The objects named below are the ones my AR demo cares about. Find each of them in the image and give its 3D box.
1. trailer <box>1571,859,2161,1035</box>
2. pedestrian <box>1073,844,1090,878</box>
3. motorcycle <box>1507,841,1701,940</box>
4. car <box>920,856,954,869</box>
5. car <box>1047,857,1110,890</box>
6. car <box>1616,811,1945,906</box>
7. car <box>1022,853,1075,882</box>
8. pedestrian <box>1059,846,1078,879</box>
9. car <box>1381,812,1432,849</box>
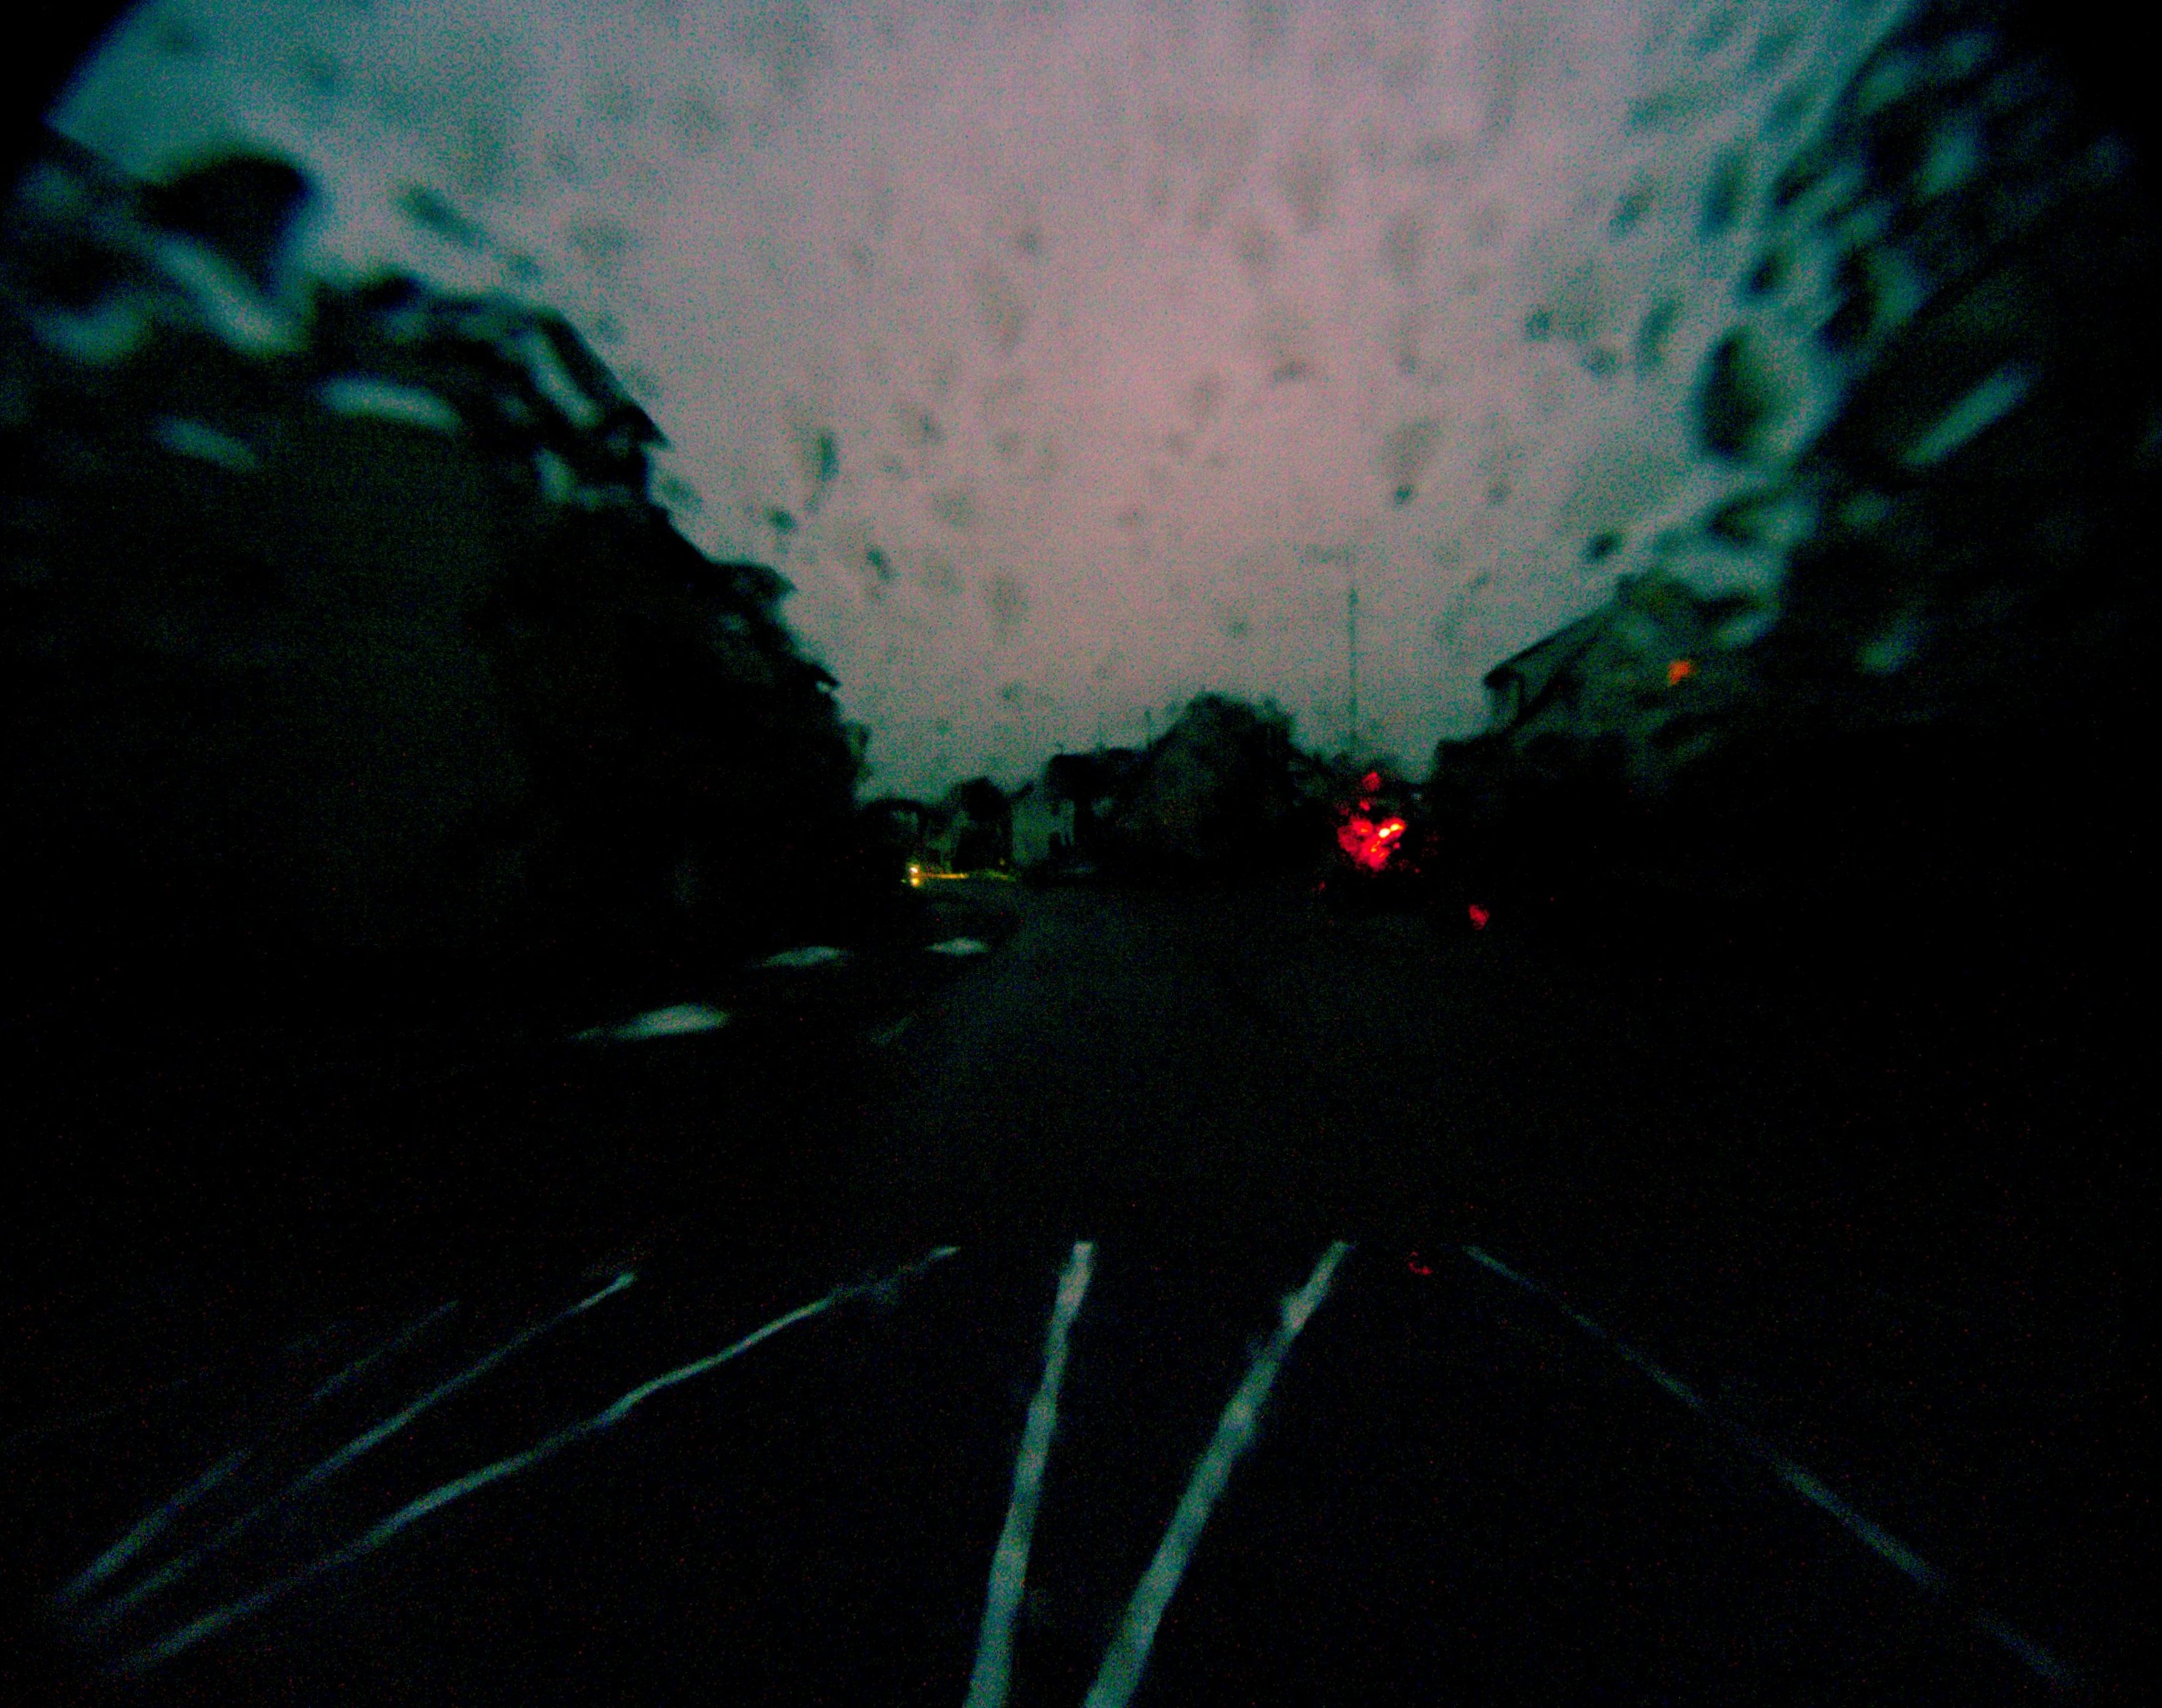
[{"bbox_3d":[7.543,0.696,7.909,2.062,1.162,4.869,-2,0,5],"label":"trailer"},{"bbox_3d":[0.029,0.402,42.441,0.600,1.859,0.810,-4,2,-19],"label":"pedestrian"},{"bbox_3d":[7.720,0.542,11.306,2.233,1.291,1.059,-3,1,36],"label":"motorcycle"},{"bbox_3d":[-19.218,1.116,101.149,4.226,1.417,2.003,-3,2,34],"label":"car"},{"bbox_3d":[-0.210,0.908,37.131,1.755,1.380,4.140,-4,1,-19],"label":"car"},{"bbox_3d":[12.574,0.081,13.988,3.993,1.408,1.919,-3,1,14],"label":"car"},{"bbox_3d":[-1.896,0.761,42.672,1.830,1.432,4.061,-4,1,-19],"label":"car"},{"bbox_3d":[-0.711,0.483,42.841,0.709,1.769,0.810,-5,2,-22],"label":"pedestrian"},{"bbox_3d":[16.749,-1.252,39.007,1.995,1.622,4.005,-3,3,28],"label":"car"}]
